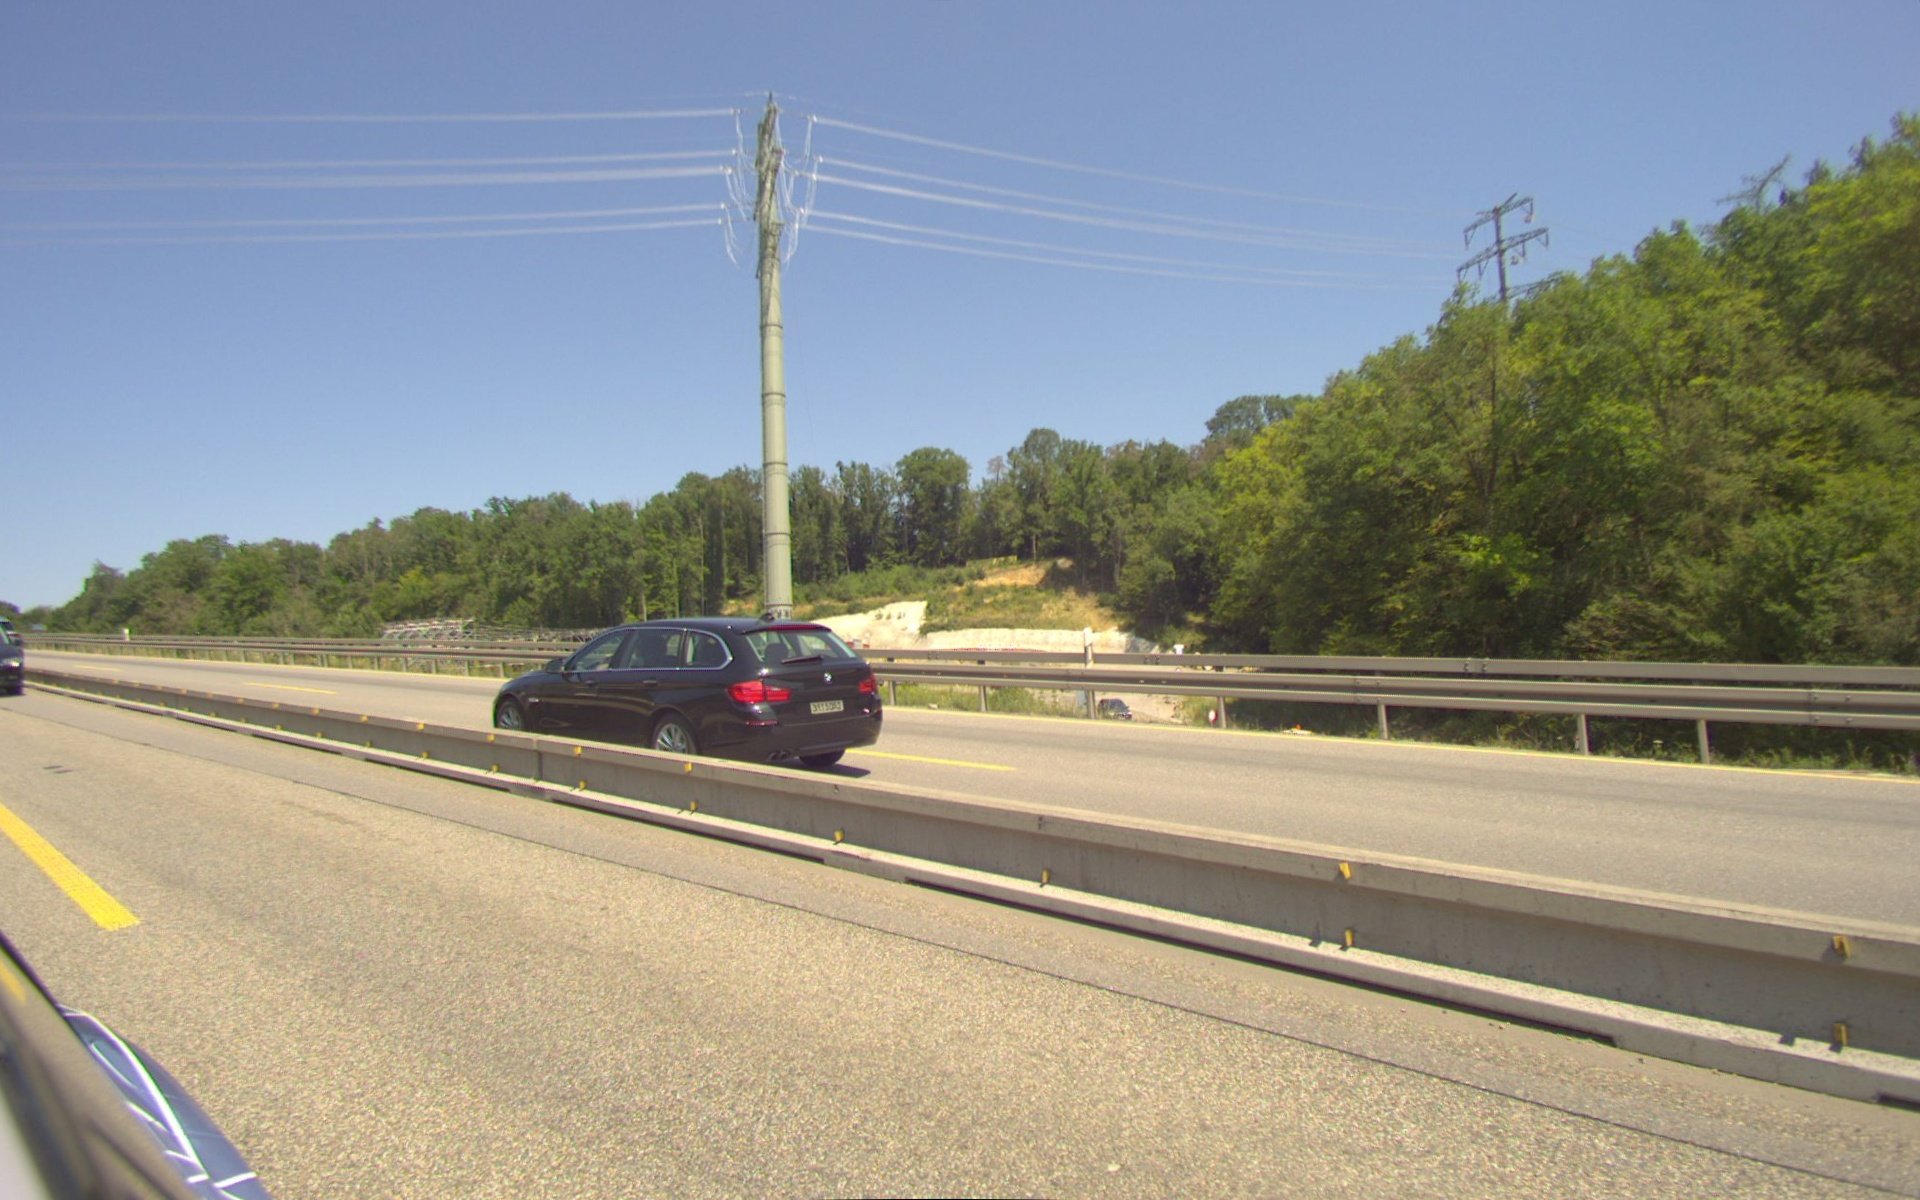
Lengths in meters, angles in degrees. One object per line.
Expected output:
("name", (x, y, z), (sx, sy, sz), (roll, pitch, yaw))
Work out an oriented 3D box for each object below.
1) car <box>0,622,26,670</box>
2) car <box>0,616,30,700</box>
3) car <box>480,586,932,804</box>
("car", (-37.102, 1.731, 38.162), (4.726, 1.718, 1.895), (-2, -1, 36))
("car", (-21.970, 1.278, 22.015), (5.298, 1.719, 1.838), (-2, -2, 39))
("car", (-2.710, 0.738, 10.025), (4.852, 1.652, 1.973), (-1, 0, 42))
